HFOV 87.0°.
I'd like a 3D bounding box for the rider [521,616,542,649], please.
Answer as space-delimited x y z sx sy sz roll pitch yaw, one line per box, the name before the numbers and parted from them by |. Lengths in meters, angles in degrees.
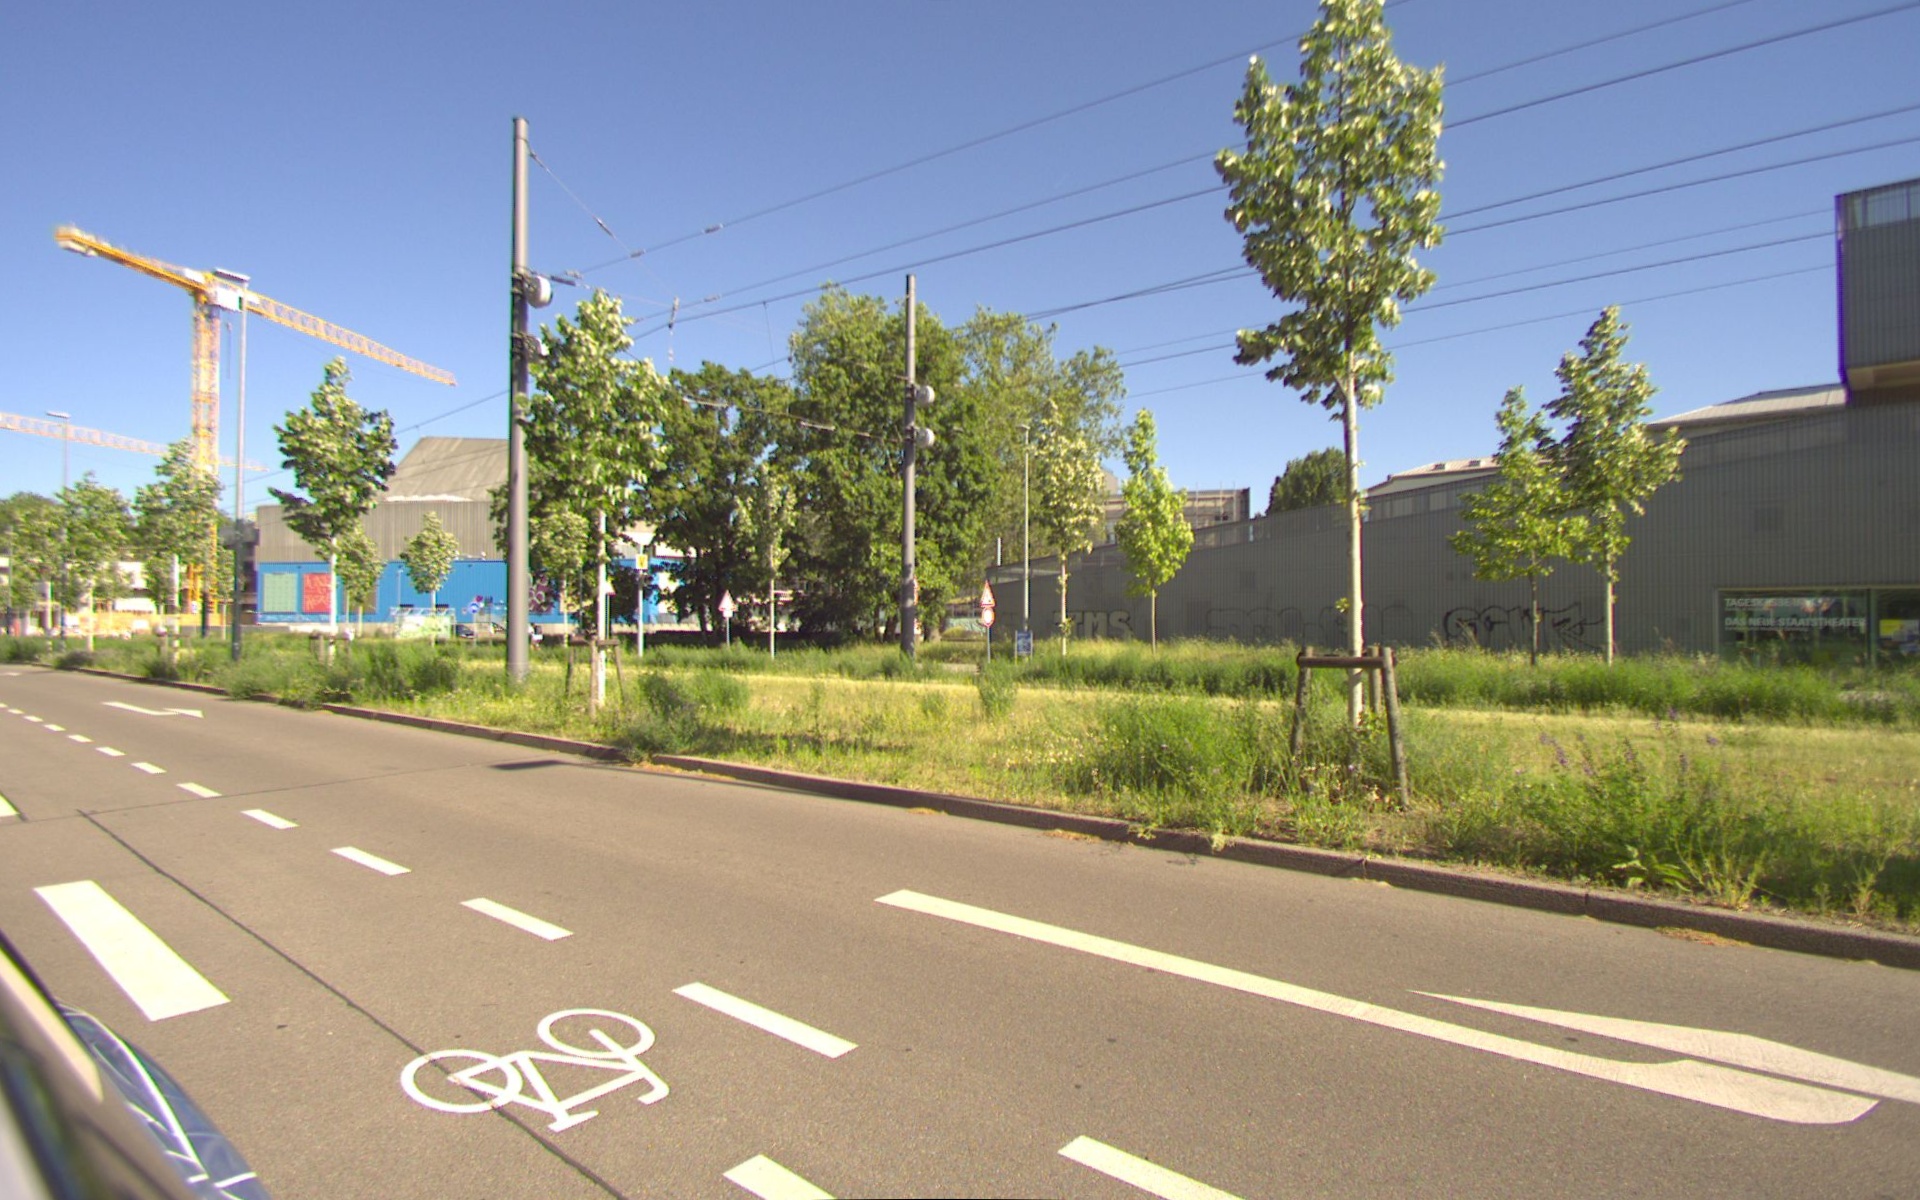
rider | -20.211 1.544 47.730 0.631 1.534 0.715 -2 -2 38
